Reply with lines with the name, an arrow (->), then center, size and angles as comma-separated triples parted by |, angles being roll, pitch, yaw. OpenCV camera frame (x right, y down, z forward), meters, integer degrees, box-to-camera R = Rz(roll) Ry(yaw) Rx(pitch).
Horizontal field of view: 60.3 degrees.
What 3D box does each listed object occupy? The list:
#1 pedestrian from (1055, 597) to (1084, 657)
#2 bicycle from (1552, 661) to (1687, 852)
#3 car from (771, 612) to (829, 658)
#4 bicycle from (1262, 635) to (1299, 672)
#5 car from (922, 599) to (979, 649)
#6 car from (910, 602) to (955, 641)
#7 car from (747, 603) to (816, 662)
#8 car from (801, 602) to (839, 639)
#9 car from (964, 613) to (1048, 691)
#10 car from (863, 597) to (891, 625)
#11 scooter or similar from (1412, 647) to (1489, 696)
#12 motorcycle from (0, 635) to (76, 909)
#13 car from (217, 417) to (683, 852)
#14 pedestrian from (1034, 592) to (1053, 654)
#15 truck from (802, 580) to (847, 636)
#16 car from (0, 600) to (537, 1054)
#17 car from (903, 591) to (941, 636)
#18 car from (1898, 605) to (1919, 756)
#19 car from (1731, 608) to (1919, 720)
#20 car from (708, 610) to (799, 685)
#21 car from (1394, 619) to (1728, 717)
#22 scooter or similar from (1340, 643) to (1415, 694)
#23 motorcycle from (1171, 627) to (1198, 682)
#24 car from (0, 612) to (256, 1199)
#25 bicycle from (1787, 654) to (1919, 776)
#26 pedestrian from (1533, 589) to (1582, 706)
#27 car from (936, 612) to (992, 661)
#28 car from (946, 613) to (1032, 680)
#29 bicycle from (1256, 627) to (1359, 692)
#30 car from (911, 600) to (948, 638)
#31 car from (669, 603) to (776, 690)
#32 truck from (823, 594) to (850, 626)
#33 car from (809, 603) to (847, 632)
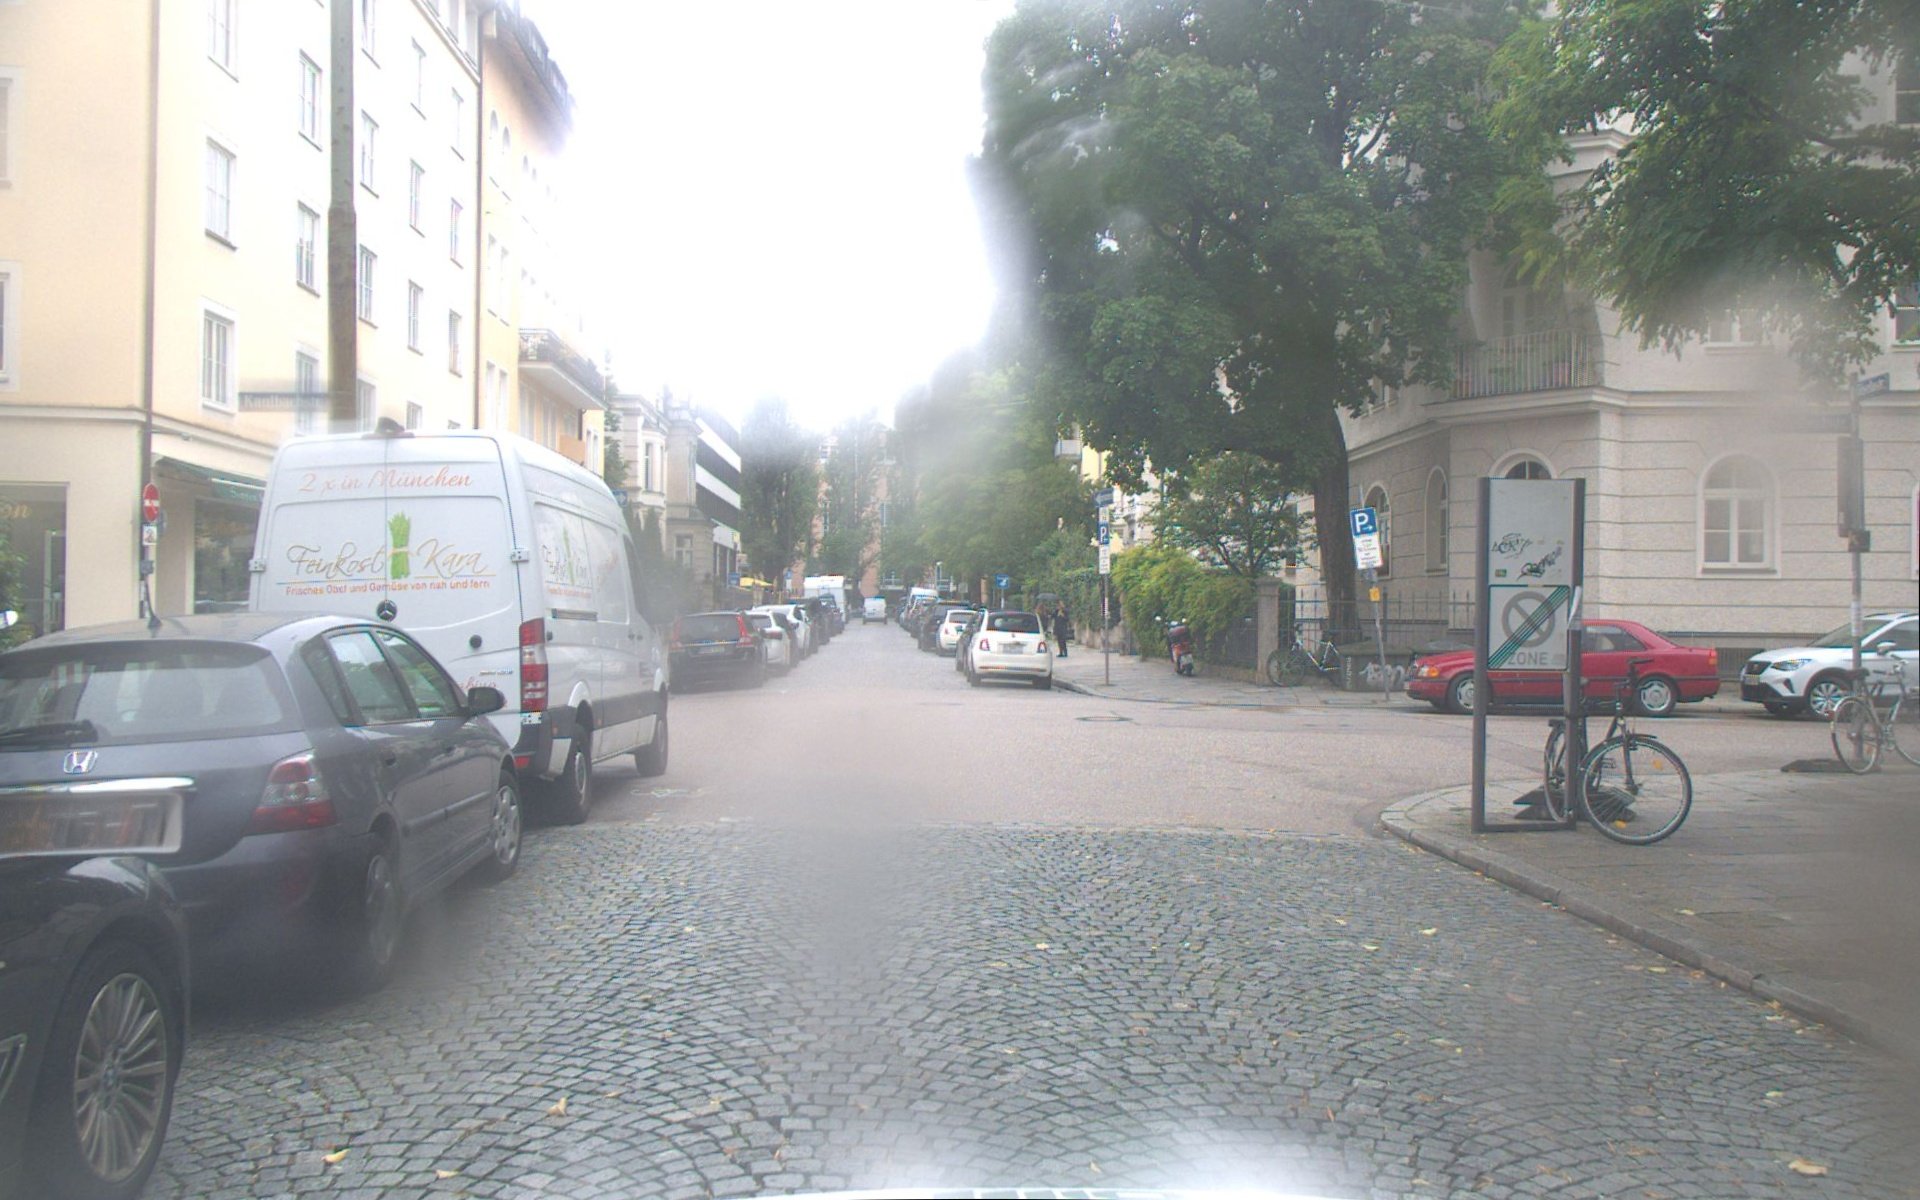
pedestrian -> 3.376, 0.824, 51.009 | 0.623, 1.840, 0.651 | 1, -1, -37
bicycle -> 4.459, 1.017, 11.267 | 0.380, 1.167, 1.590 | 0, -1, 4
car -> -5.365, 1.167, 56.002 | 1.738, 1.454, 4.388 | 1, -1, -3
bicycle -> 7.648, 1.265, 39.561 | 0.481, 0.826, 2.274 | 1, -1, 1
car -> -0.402, 0.863, 59.275 | 1.837, 1.702, 5.487 | 1, -1, -2
car -> -1.376, 1.018, 79.681 | 1.924, 1.790, 4.950 | 1, -1, -4
car -> -5.303, 0.971, 49.658 | 1.738, 1.676, 4.389 | 1, -1, -2
car -> -6.770, 0.988, 80.216 | 1.738, 1.748, 4.387 | 1, -1, -4
car -> 0.888, 1.016, 33.551 | 1.471, 1.497, 3.793 | 0, -1, -2
car -> -5.982, 0.802, 119.865 | 1.956, 1.970, 3.998 | 0, -1, -2
scooter or similar -> 8.700, 1.263, 29.364 | 1.211, 0.840, 0.697 | 1, -1, 6
motorcycle -> -5.229, 0.883, 8.252 | 0.661, 1.393, 2.057 | 1, -1, -5
car -> -3.619, 0.242, 13.068 | 1.937, 2.619, 5.792 | -1, -1, -1
pedestrian -> 2.568, 0.702, 50.724 | 0.563, 1.882, 0.682 | 1, 0, 4
truck -> -7.866, 0.437, 96.577 | 2.459, 3.085, 6.379 | -2, 0, -4
car -> -3.098, 0.781, 7.506 | 1.629, 1.508, 3.977 | 1, -1, -5
car -> -2.272, 0.759, 98.361 | 1.858, 2.468, 5.607 | 4, 0, -4
car -> 12.253, 0.878, 17.142 | 3.987, 1.625, 1.907 | 1, -1, 8
car -> 13.428, 0.915, 23.945 | 3.805, 1.548, 1.566 | 0, -1, 2
car -> -4.715, 1.067, 38.293 | 1.738, 1.563, 4.537 | -2, -1, -3
car -> 8.874, 0.981, 24.707 | 4.373, 1.382, 1.761 | 0, 0, 4
scooter or similar -> 7.362, 1.201, 29.222 | 1.158, 0.863, 0.925 | 1, -1, 6
motorcycle -> 4.676, 1.127, 34.480 | 0.355, 1.109, 1.403 | 1, -1, -1
car -> -2.763, 0.796, 2.379 | 1.691, 1.490, 4.471 | -2, 0, -2
bicycle -> 8.719, 1.064, 15.449 | 1.568, 1.088, 0.739 | -2, -4, 0
pedestrian -> 9.914, 0.776, 27.450 | 0.484, 1.909, 0.741 | 1, -1, -8
car -> 0.104, 1.177, 54.285 | 1.598, 1.495, 3.656 | 3, -1, -3
car -> 0.657, 1.096, 40.583 | 1.616, 1.446, 4.628 | 4, -1, -4
bicycle -> 6.323, 1.071, 30.145 | 1.798, 1.144, 0.563 | 1, 0, 7
car -> -1.742, 1.079, 92.878 | 1.765, 1.983, 4.856 | 3, -1, -4
car -> -4.726, 0.914, 33.487 | 1.816, 1.614, 4.743 | 1, -1, -5
truck -> -9.354, 0.758, 125.641 | 1.954, 2.388, 4.065 | 1, -1, -3
car -> -6.816, 0.912, 85.491 | 1.902, 1.485, 4.054 | 1, -1, -4
